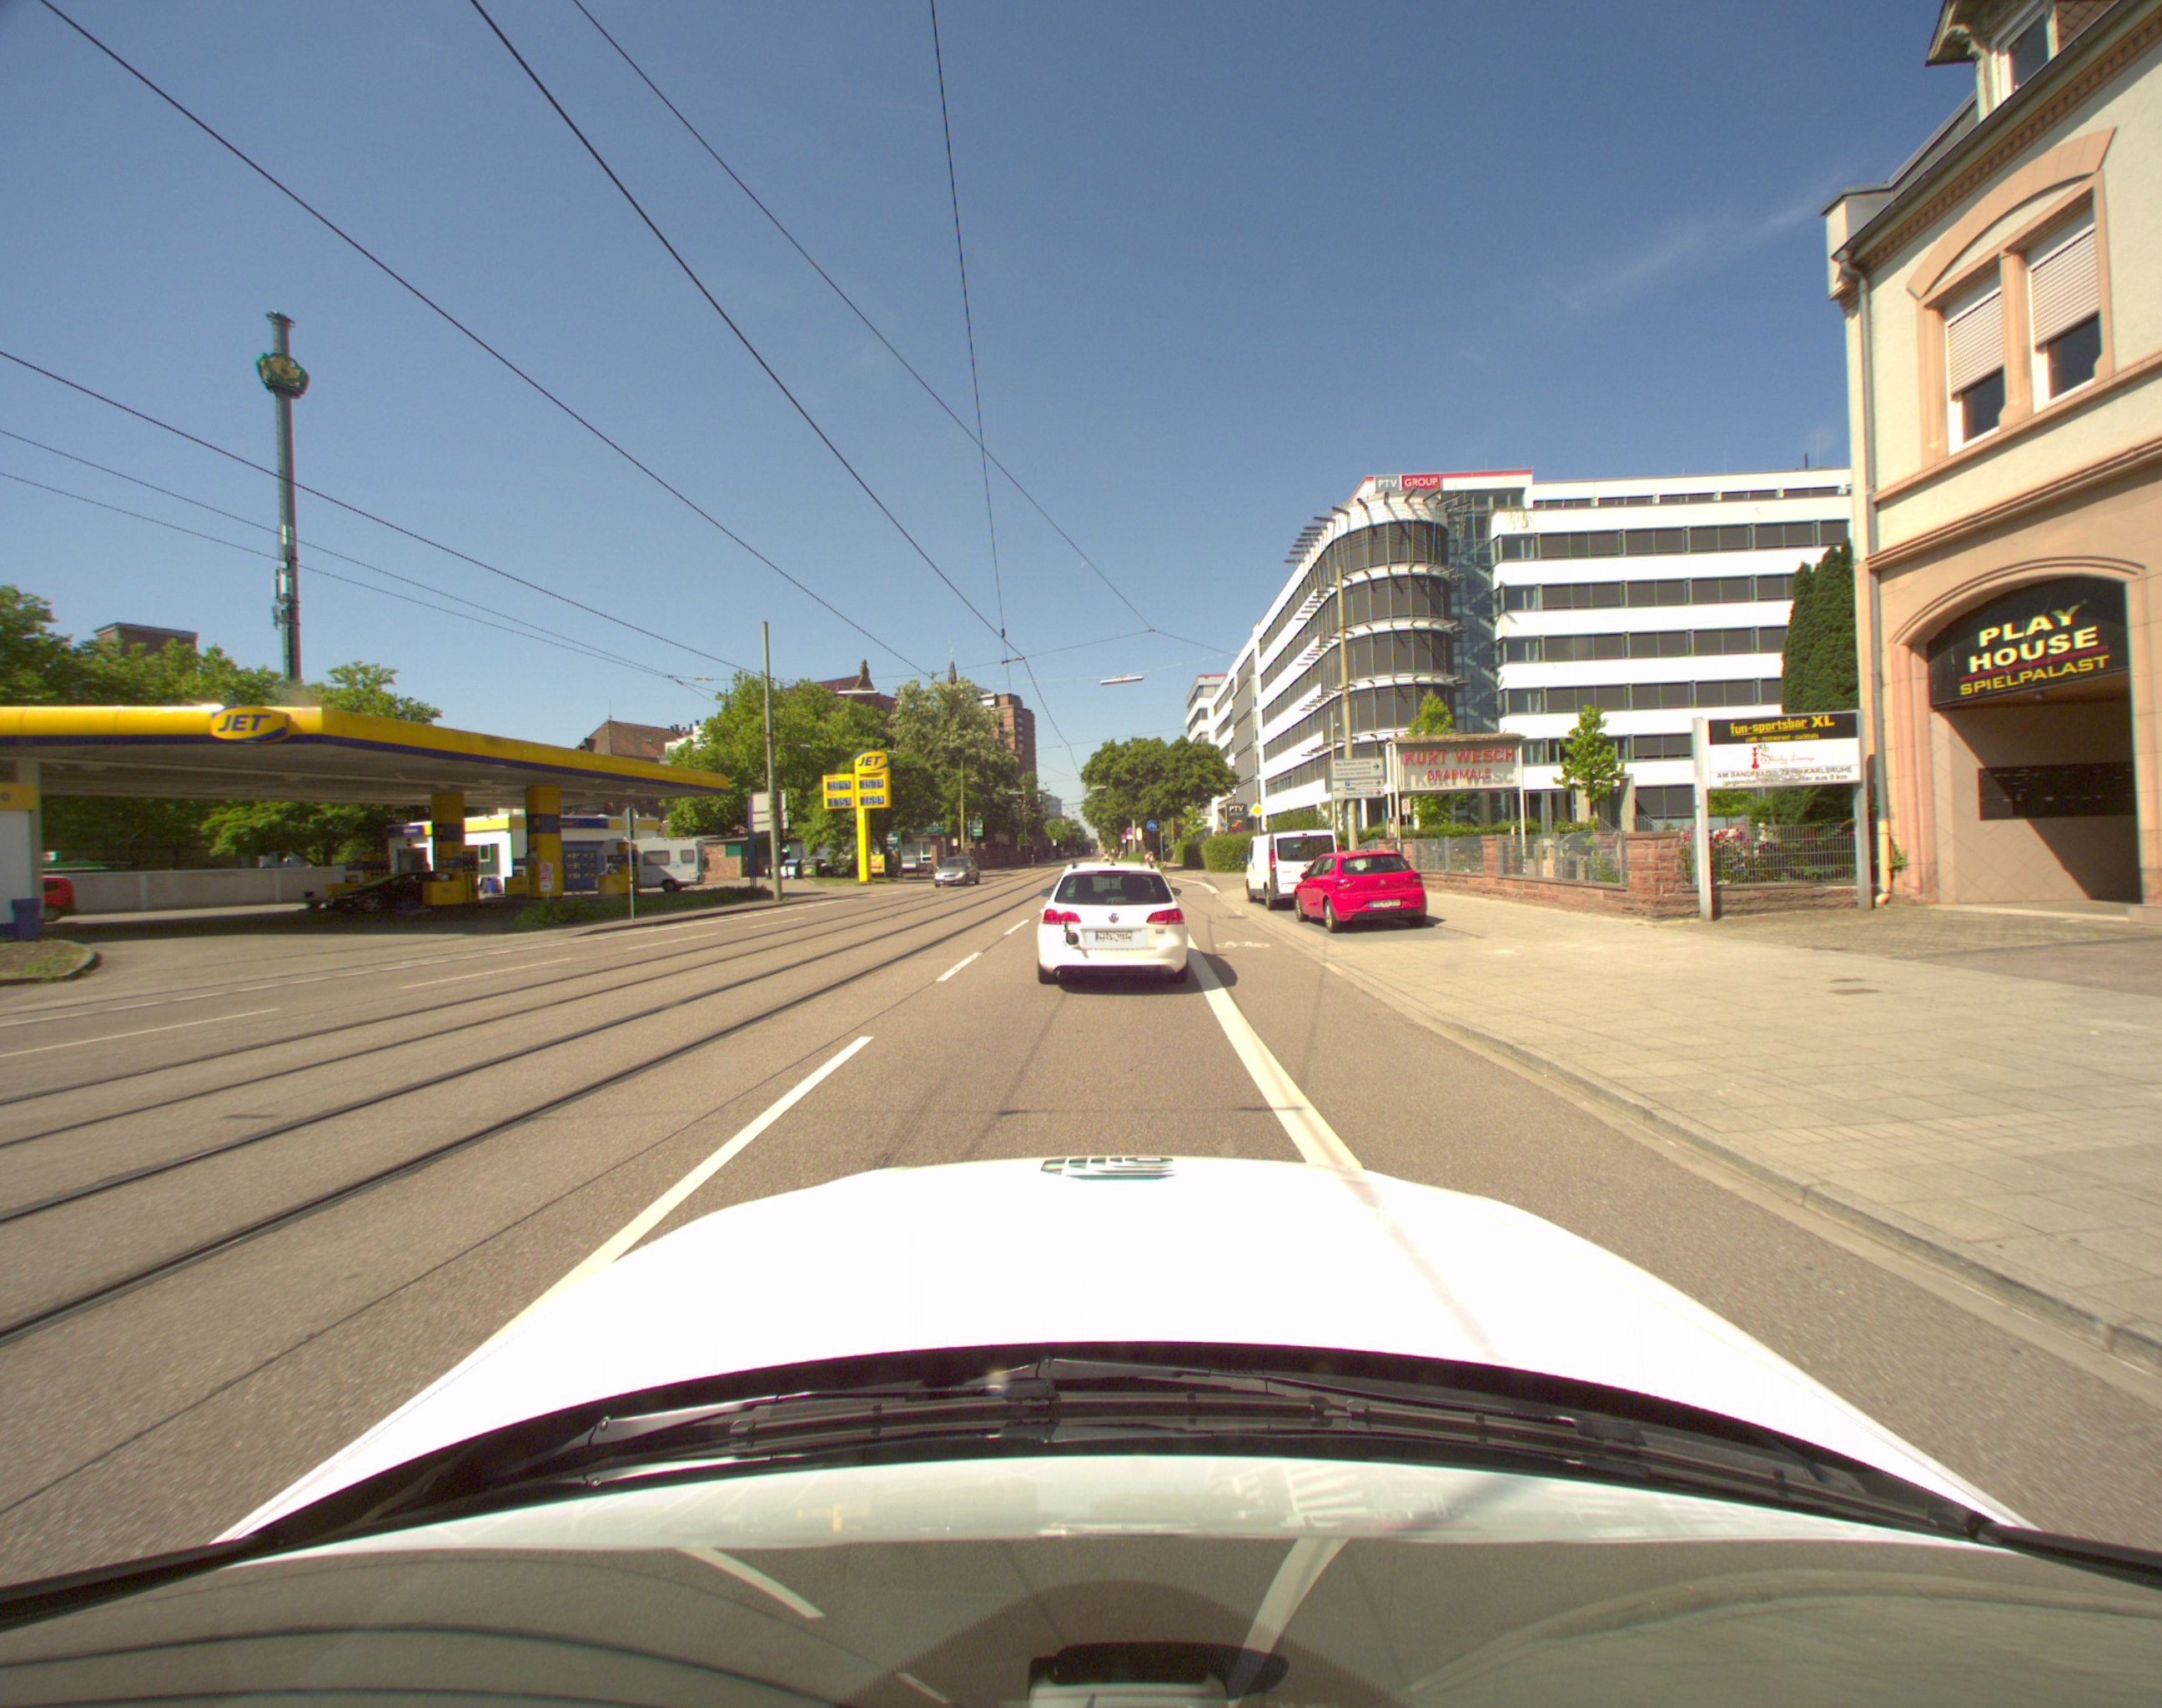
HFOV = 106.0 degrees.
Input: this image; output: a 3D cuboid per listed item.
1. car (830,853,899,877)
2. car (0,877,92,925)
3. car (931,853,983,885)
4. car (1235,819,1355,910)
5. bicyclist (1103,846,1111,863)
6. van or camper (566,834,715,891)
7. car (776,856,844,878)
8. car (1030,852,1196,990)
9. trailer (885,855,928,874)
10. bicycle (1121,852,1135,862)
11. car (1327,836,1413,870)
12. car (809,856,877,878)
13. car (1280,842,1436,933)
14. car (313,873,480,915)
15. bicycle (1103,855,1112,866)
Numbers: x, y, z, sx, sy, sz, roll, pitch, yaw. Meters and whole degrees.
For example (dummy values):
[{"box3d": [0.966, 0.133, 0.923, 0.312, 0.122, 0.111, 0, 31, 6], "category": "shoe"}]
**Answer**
[{"box3d": [-16.243, 0.784, 61.316, 4.605, 1.625, 1.925, -2, 0, -44], "category": "car"}, {"box3d": [-41.379, 1.795, 30.943, 1.757, 1.763, 4.500, 0, -1, 25], "category": "car"}, {"box3d": [-6.678, 0.781, 44.175, 1.737, 1.571, 3.899, -3, -1, 7], "category": "car"}, {"box3d": [5.646, 0.246, 22.201, 1.969, 2.054, 5.194, -4, 0, 2], "category": "car"}, {"box3d": [2.620, 0.073, 81.044, 0.783, 1.629, 0.738, 0, -1, 2], "category": "bicyclist"}, {"box3d": [-23.953, 0.463, 44.683, 6.703, 2.967, 2.603, 1, 0, -15], "category": "van or camper"}, {"box3d": [-21.204, 1.006, 63.822, 4.605, 1.583, 1.926, -2, 0, -43], "category": "car"}, {"box3d": [0.430, 0.709, 10.865, 1.747, 1.442, 4.415, -1, 0, 2], "category": "car"}, {"box3d": [-14.835, 0.906, 69.400, 3.202, 1.525, 1.779, -2, 0, 3], "category": "trailer"}, {"box3d": [5.859, 0.374, 101.773, 1.769, 1.083, 0.596, -3, 0, -1], "category": "bicycle"}, {"box3d": [13.979, -0.057, 39.476, 3.579, 1.473, 1.593, -2, 0, 2], "category": "car"}, {"box3d": [-18.322, 0.987, 62.753, 4.605, 1.467, 1.925, -2, 0, -44], "category": "car"}, {"box3d": [5.283, 0.571, 16.159, 1.715, 1.443, 4.315, -4, 0, 2], "category": "car"}, {"box3d": [-25.221, 1.418, 30.202, 1.681, 1.303, 4.416, 0, 0, 26], "category": "car"}, {"box3d": [2.618, 0.663, 80.909, 0.807, 1.078, 2.013, -2, 0, 2], "category": "bicycle"}]
